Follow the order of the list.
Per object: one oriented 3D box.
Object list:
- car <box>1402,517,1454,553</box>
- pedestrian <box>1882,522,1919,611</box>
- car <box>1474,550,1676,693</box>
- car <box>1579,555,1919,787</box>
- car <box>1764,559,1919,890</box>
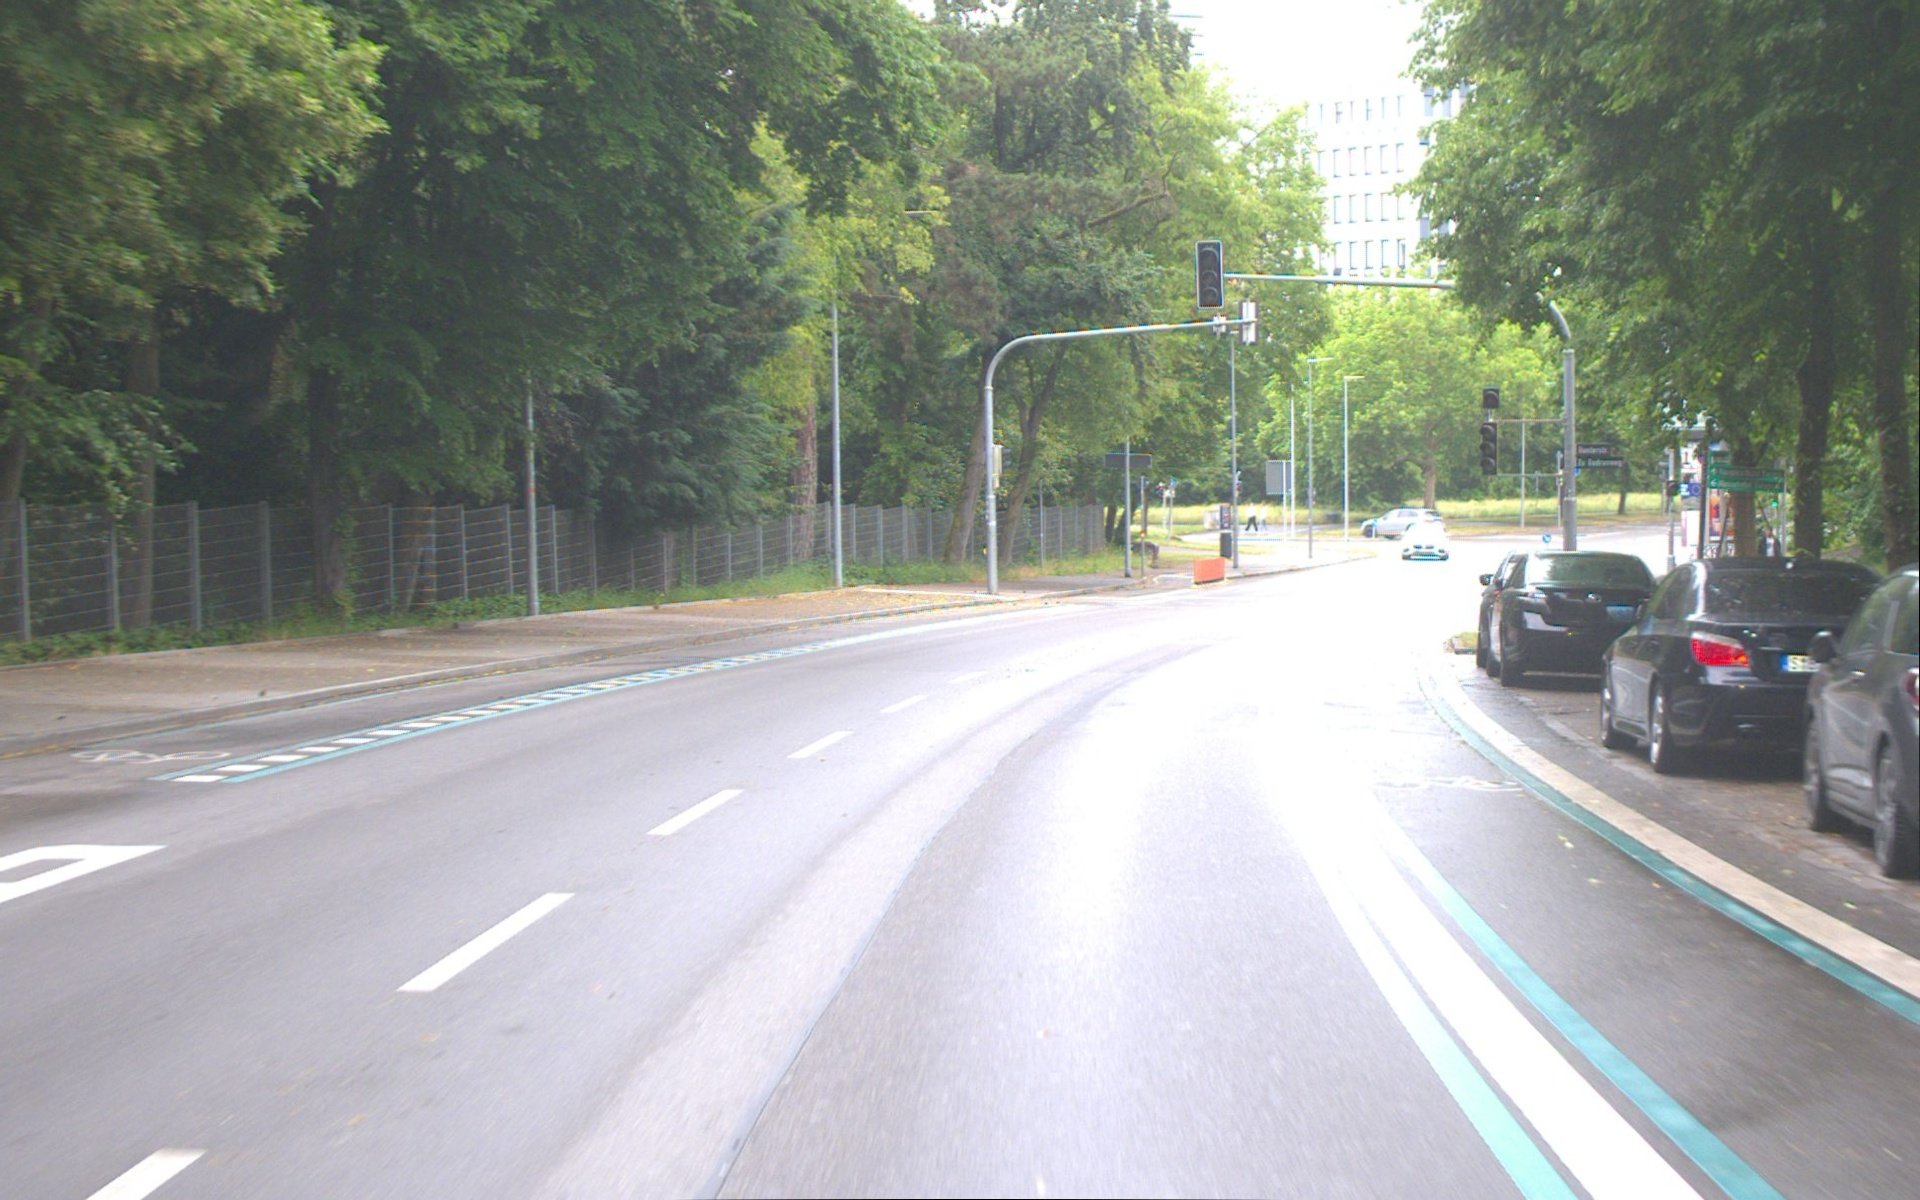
[{"bbox_3d":[20.101,-2.795,147.679,1.844,1.452,4.498,1,2,12],"label":"car"},{"bbox_3d":[18.645,-0.666,67.323,0.887,1.727,1.146,1,1,2],"label":"pedestrian"},{"bbox_3d":[6.682,0.187,37.753,1.699,1.415,4.763,2,1,5],"label":"car"},{"bbox_3d":[5.511,0.415,23.969,1.782,1.403,4.845,2,1,4],"label":"car"},{"bbox_3d":[5.107,0.533,16.908,1.684,1.423,4.317,2,1,6],"label":"car"}]
